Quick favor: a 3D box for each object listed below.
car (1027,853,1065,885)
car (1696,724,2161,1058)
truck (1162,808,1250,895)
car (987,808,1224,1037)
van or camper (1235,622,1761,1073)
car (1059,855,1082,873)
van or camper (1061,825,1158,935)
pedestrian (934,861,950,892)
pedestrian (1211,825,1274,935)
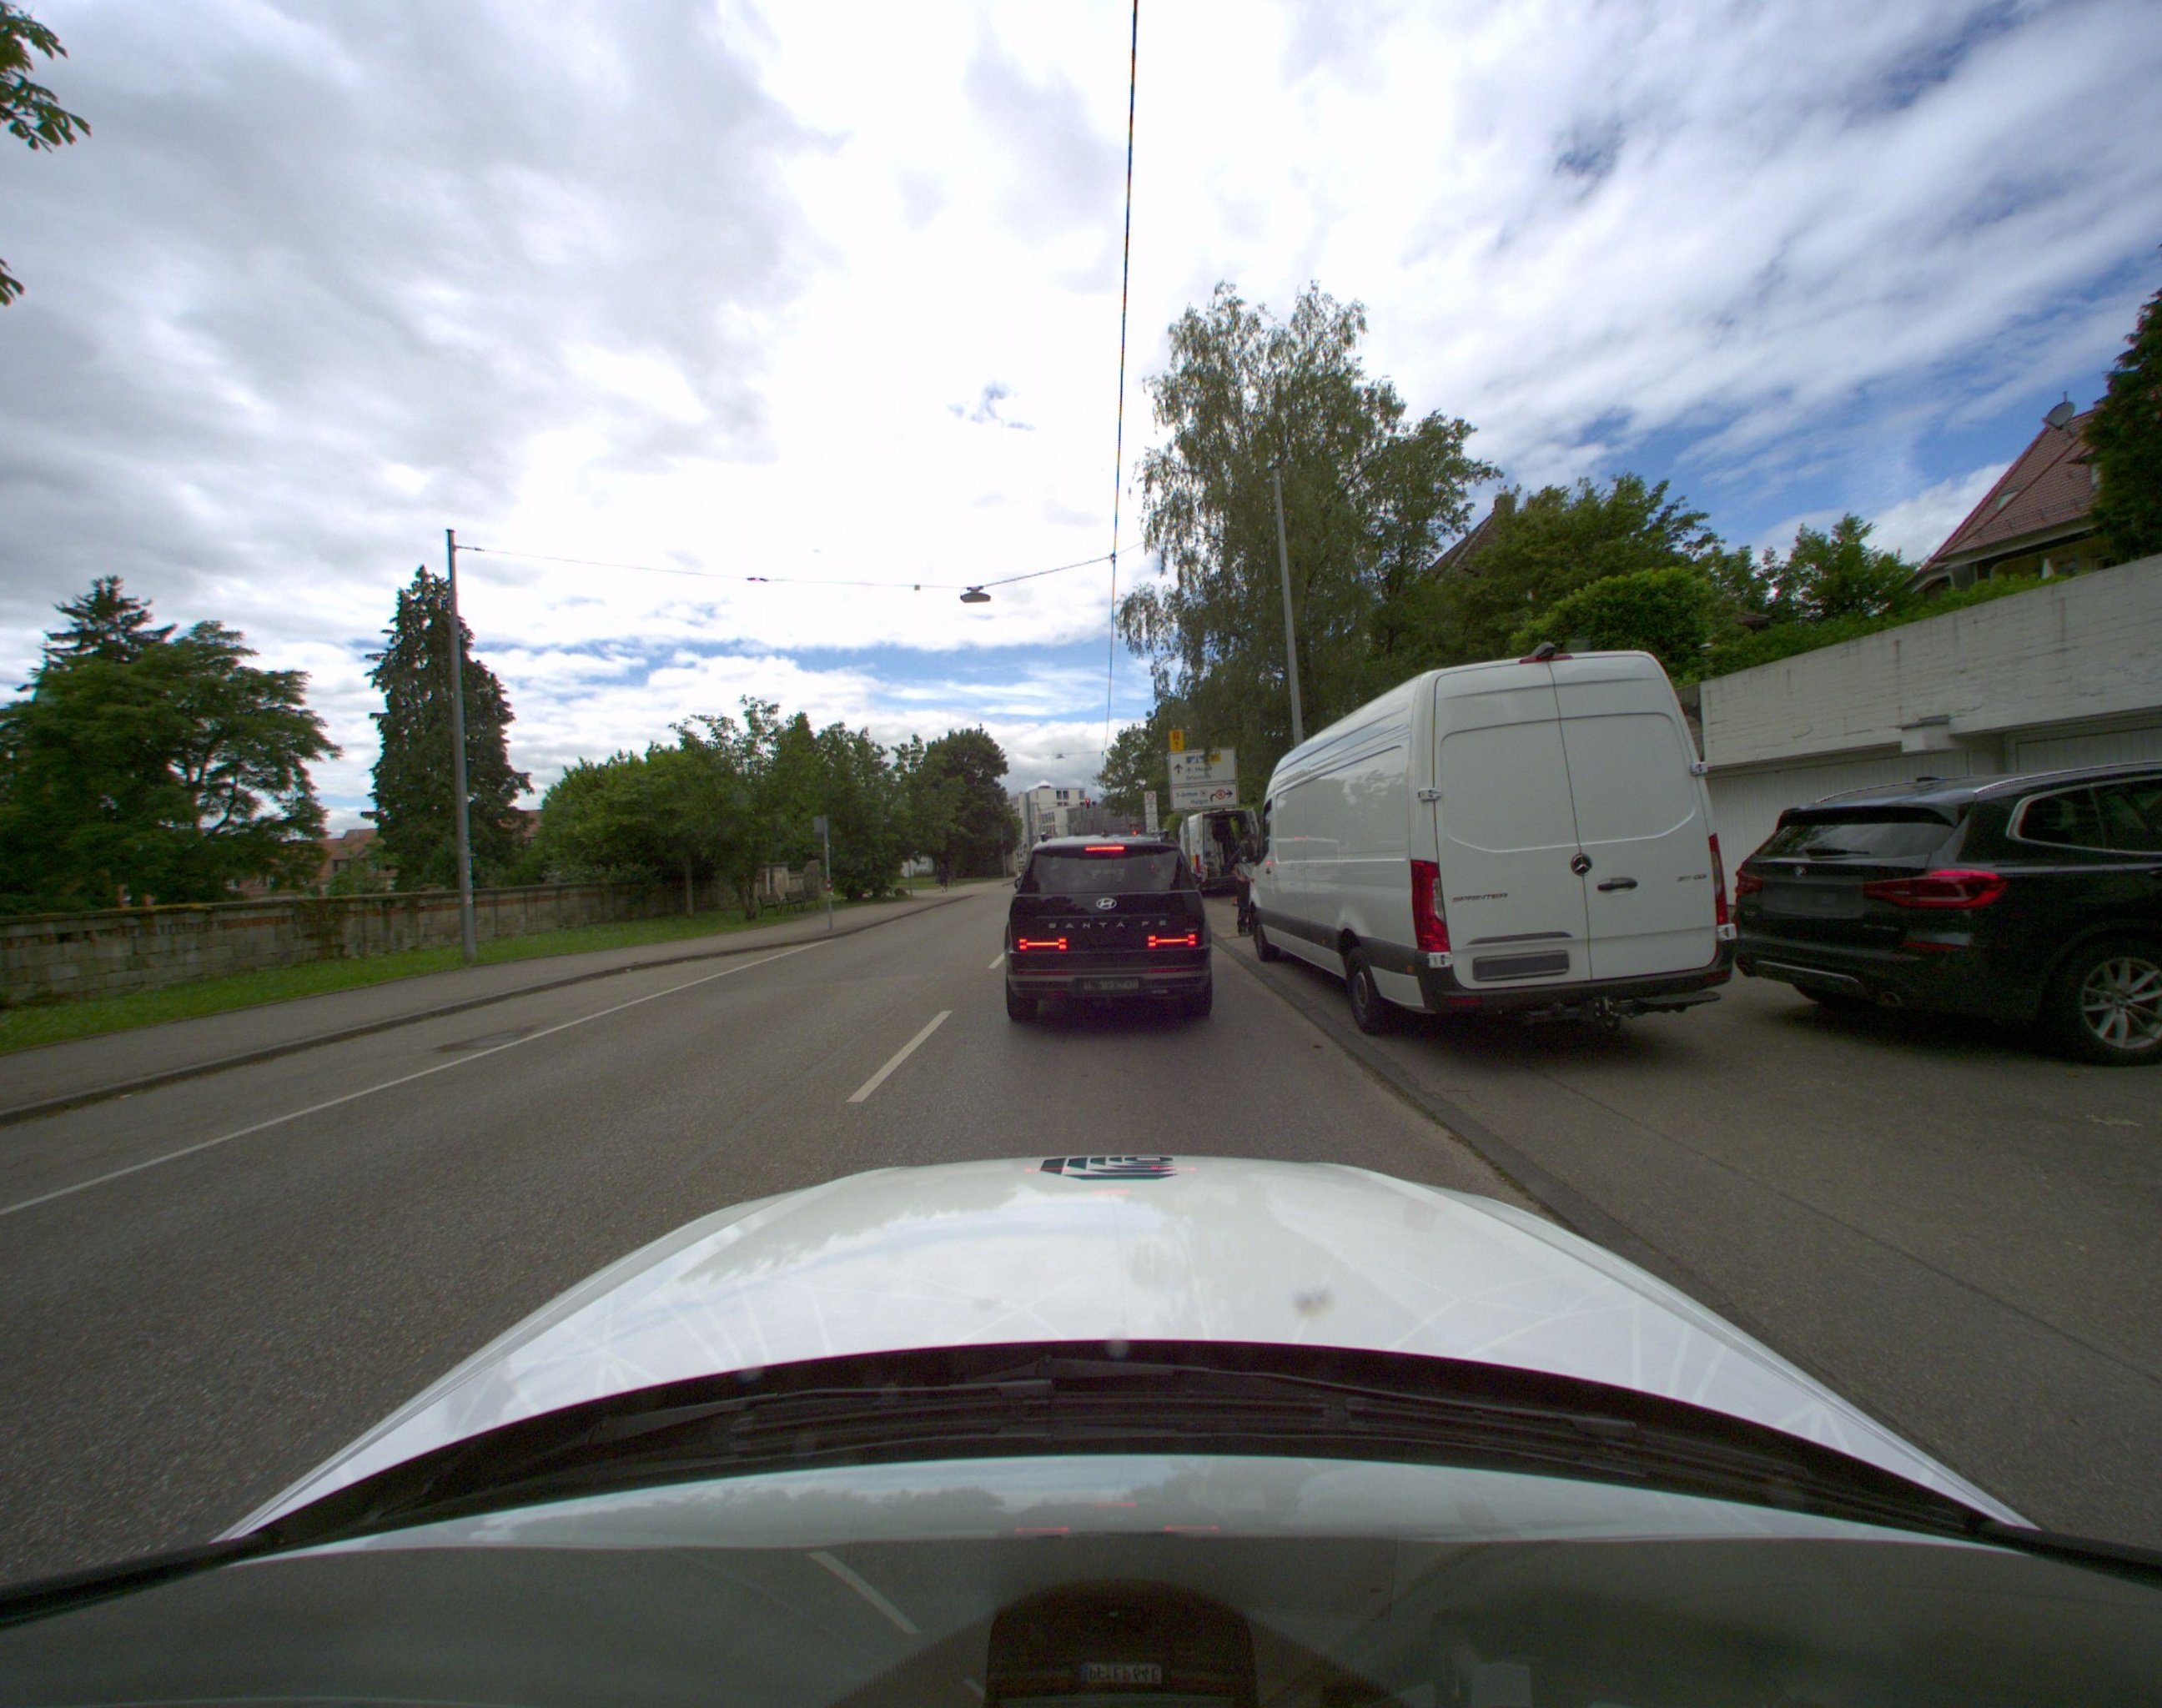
[{"bbox_3d":[-2.087,0.867,49.652,1.852,1.657,4.307,-6,0,2],"label":"car"},{"bbox_3d":[6.858,0.120,5.214,4.398,1.750,1.739,-3,0,3],"label":"car"},{"bbox_3d":[4.164,-0.040,28.065,1.937,2.561,5.213,-5,-1,-1],"label":"truck"},{"bbox_3d":[0.263,0.562,8.655,1.883,1.819,4.002,-2,0,2],"label":"car"},{"bbox_3d":[3.130,-0.035,8.184,1.986,2.620,6.543,-3,0,2],"label":"van or camper"},{"bbox_3d":[-0.962,0.952,76.130,1.852,1.453,4.112,-6,0,2],"label":"car"},{"bbox_3d":[0.612,0.504,17.598,1.748,2.013,4.002,-3,0,2],"label":"van or camper"},{"bbox_3d":[-7.881,1.259,46.158,0.737,1.715,0.791,-3,0,-5],"label":"pedestrian"},{"bbox_3d":[2.759,0.440,13.992,0.867,1.797,0.760,-3,0,1],"label":"pedestrian"}]
